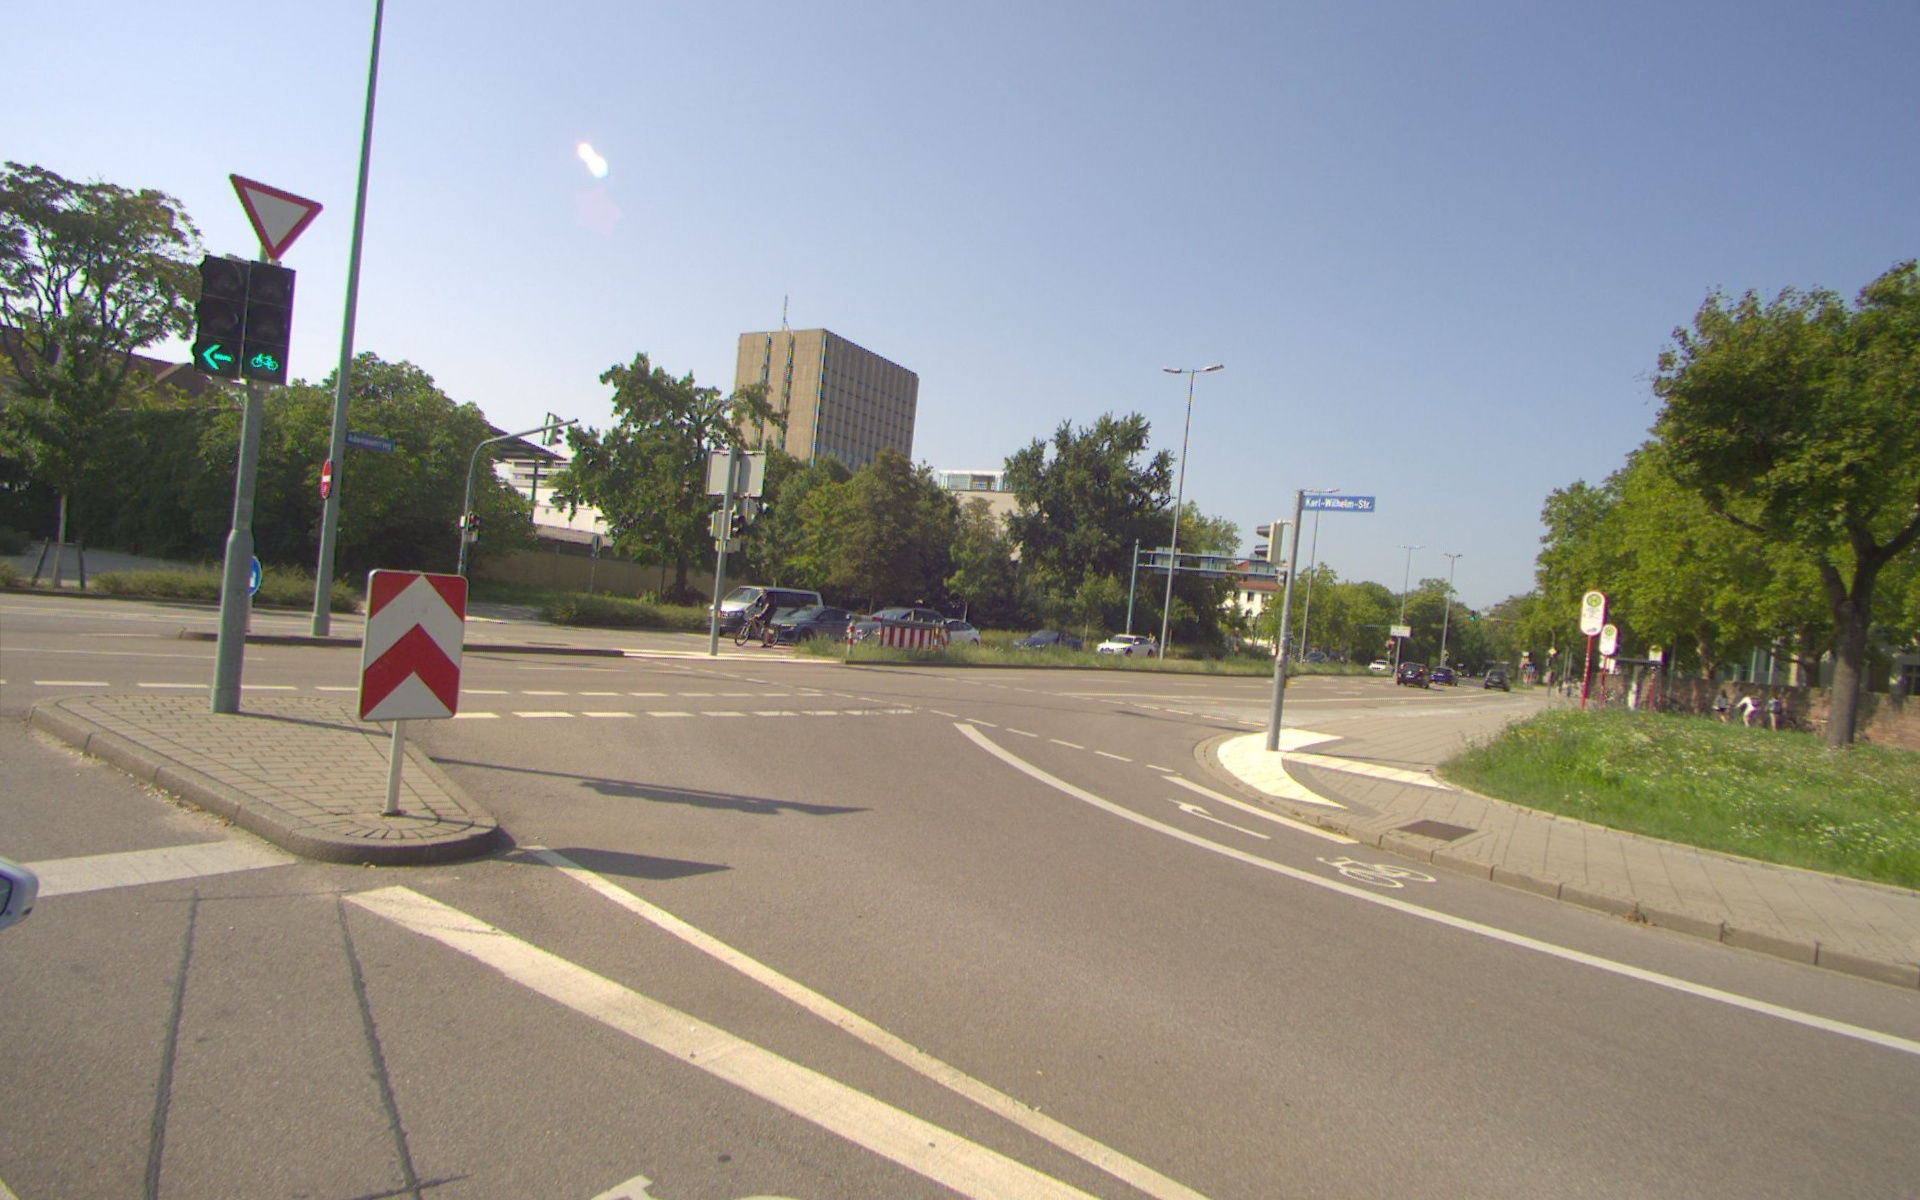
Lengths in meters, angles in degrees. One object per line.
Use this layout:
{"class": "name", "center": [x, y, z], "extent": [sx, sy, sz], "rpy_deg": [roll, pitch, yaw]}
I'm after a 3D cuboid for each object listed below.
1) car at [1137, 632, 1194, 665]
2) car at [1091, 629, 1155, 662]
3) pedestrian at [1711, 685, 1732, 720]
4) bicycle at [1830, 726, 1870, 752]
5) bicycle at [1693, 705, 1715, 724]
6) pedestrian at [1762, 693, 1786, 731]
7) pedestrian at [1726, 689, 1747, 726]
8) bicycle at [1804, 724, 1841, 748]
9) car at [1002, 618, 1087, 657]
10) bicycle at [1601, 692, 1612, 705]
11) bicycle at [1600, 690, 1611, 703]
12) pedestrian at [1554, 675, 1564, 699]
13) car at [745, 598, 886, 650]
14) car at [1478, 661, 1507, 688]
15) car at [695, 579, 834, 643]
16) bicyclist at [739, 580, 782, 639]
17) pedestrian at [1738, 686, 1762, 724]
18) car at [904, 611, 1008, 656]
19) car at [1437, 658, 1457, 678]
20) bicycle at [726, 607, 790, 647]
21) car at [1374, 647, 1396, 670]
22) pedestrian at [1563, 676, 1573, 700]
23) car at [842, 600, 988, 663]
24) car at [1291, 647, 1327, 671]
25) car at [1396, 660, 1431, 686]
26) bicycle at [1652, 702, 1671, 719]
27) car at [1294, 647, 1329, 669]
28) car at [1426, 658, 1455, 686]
{"class": "car", "center": [12.538, 2.958, 61.274], "extent": [1.901, 1.680, 4.285], "rpy_deg": [6, 0, 31]}
{"class": "car", "center": [9.066, 2.561, 55.736], "extent": [1.901, 1.524, 4.285], "rpy_deg": [6, 0, 31]}
{"class": "pedestrian", "center": [36.413, 4.884, 48.098], "extent": [0.525, 1.589, 0.503], "rpy_deg": [7, -1, 13]}
{"class": "bicycle", "center": [36.885, 5.744, 41.711], "extent": [0.425, 0.846, 1.551], "rpy_deg": [6, 0, 10]}
{"class": "bicycle", "center": [40.082, 6.155, 54.182], "extent": [0.426, 0.846, 1.550], "rpy_deg": [6, 0, 18]}
{"class": "pedestrian", "center": [36.704, 5.040, 45.359], "extent": [0.474, 1.670, 0.595], "rpy_deg": [7, -1, 15]}
{"class": "pedestrian", "center": [37.306, 5.158, 48.340], "extent": [0.474, 1.670, 0.595], "rpy_deg": [7, -1, 15]}
{"class": "bicycle", "center": [37.193, 5.861, 43.388], "extent": [0.425, 0.846, 1.551], "rpy_deg": [6, 0, 10]}
{"class": "car", "center": [4.103, 1.834, 48.427], "extent": [1.970, 1.524, 4.279], "rpy_deg": [6, 0, 37]}
{"class": "bicycle", "center": [47.310, 7.220, 73.629], "extent": [0.426, 0.846, 1.548], "rpy_deg": [6, 0, 26]}
{"class": "bicycle", "center": [48.630, 7.254, 75.759], "extent": [0.426, 0.846, 1.548], "rpy_deg": [6, 0, 26]}
{"class": "pedestrian", "center": [45.635, 6.606, 76.607], "extent": [0.478, 1.760, 0.504], "rpy_deg": [6, -1, 30]}
{"class": "car", "center": [-5.001, 0.871, 35.510], "extent": [1.883, 1.418, 4.901], "rpy_deg": [6, -1, 38]}
{"class": "car", "center": [47.736, 6.715, 90.320], "extent": [1.885, 2.036, 4.001], "rpy_deg": [6, -2, 25]}
{"class": "car", "center": [-7.162, 0.468, 37.319], "extent": [1.819, 1.898, 4.954], "rpy_deg": [6, 0, 38]}
{"class": "bicyclist", "center": [-5.989, 0.302, 30.207], "extent": [0.737, 1.656, 0.872], "rpy_deg": [6, 1, 36]}
{"class": "pedestrian", "center": [35.743, 4.741, 45.502], "extent": [0.510, 1.670, 0.595], "rpy_deg": [7, -1, 15]}
{"class": "car", "center": [-0.097, 1.444, 42.426], "extent": [1.970, 1.524, 4.418], "rpy_deg": [6, 0, 38]}
{"class": "car", "center": [57.892, 8.068, 119.691], "extent": [1.885, 2.036, 4.001], "rpy_deg": [6, -2, 25]}
{"class": "bicycle", "center": [-6.040, 0.813, 30.225], "extent": [0.758, 1.066, 1.769], "rpy_deg": [7, 1, 35]}
{"class": "car", "center": [45.670, 6.317, 108.082], "extent": [1.885, 2.036, 4.001], "rpy_deg": [6, -2, 25]}
{"class": "pedestrian", "center": [46.049, 6.642, 76.173], "extent": [0.478, 1.760, 0.504], "rpy_deg": [6, -1, 30]}
{"class": "car", "center": [-1.310, 1.008, 31.291], "extent": [1.827, 1.597, 4.694], "rpy_deg": [4, -2, 39]}
{"class": "car", "center": [26.009, 4.409, 74.981], "extent": [1.683, 1.593, 3.992], "rpy_deg": [6, 0, 30]}
{"class": "car", "center": [31.576, 5.086, 70.010], "extent": [1.683, 1.593, 3.992], "rpy_deg": [6, 0, 30]}
{"class": "bicycle", "center": [42.035, 6.620, 60.294], "extent": [0.426, 0.846, 1.550], "rpy_deg": [6, 0, 18]}
{"class": "car", "center": [31.062, 5.124, 88.906], "extent": [1.901, 1.680, 4.285], "rpy_deg": [6, 0, 31]}
{"class": "car", "center": [40.064, 6.022, 83.966], "extent": [1.885, 2.036, 4.001], "rpy_deg": [6, -2, 25]}
